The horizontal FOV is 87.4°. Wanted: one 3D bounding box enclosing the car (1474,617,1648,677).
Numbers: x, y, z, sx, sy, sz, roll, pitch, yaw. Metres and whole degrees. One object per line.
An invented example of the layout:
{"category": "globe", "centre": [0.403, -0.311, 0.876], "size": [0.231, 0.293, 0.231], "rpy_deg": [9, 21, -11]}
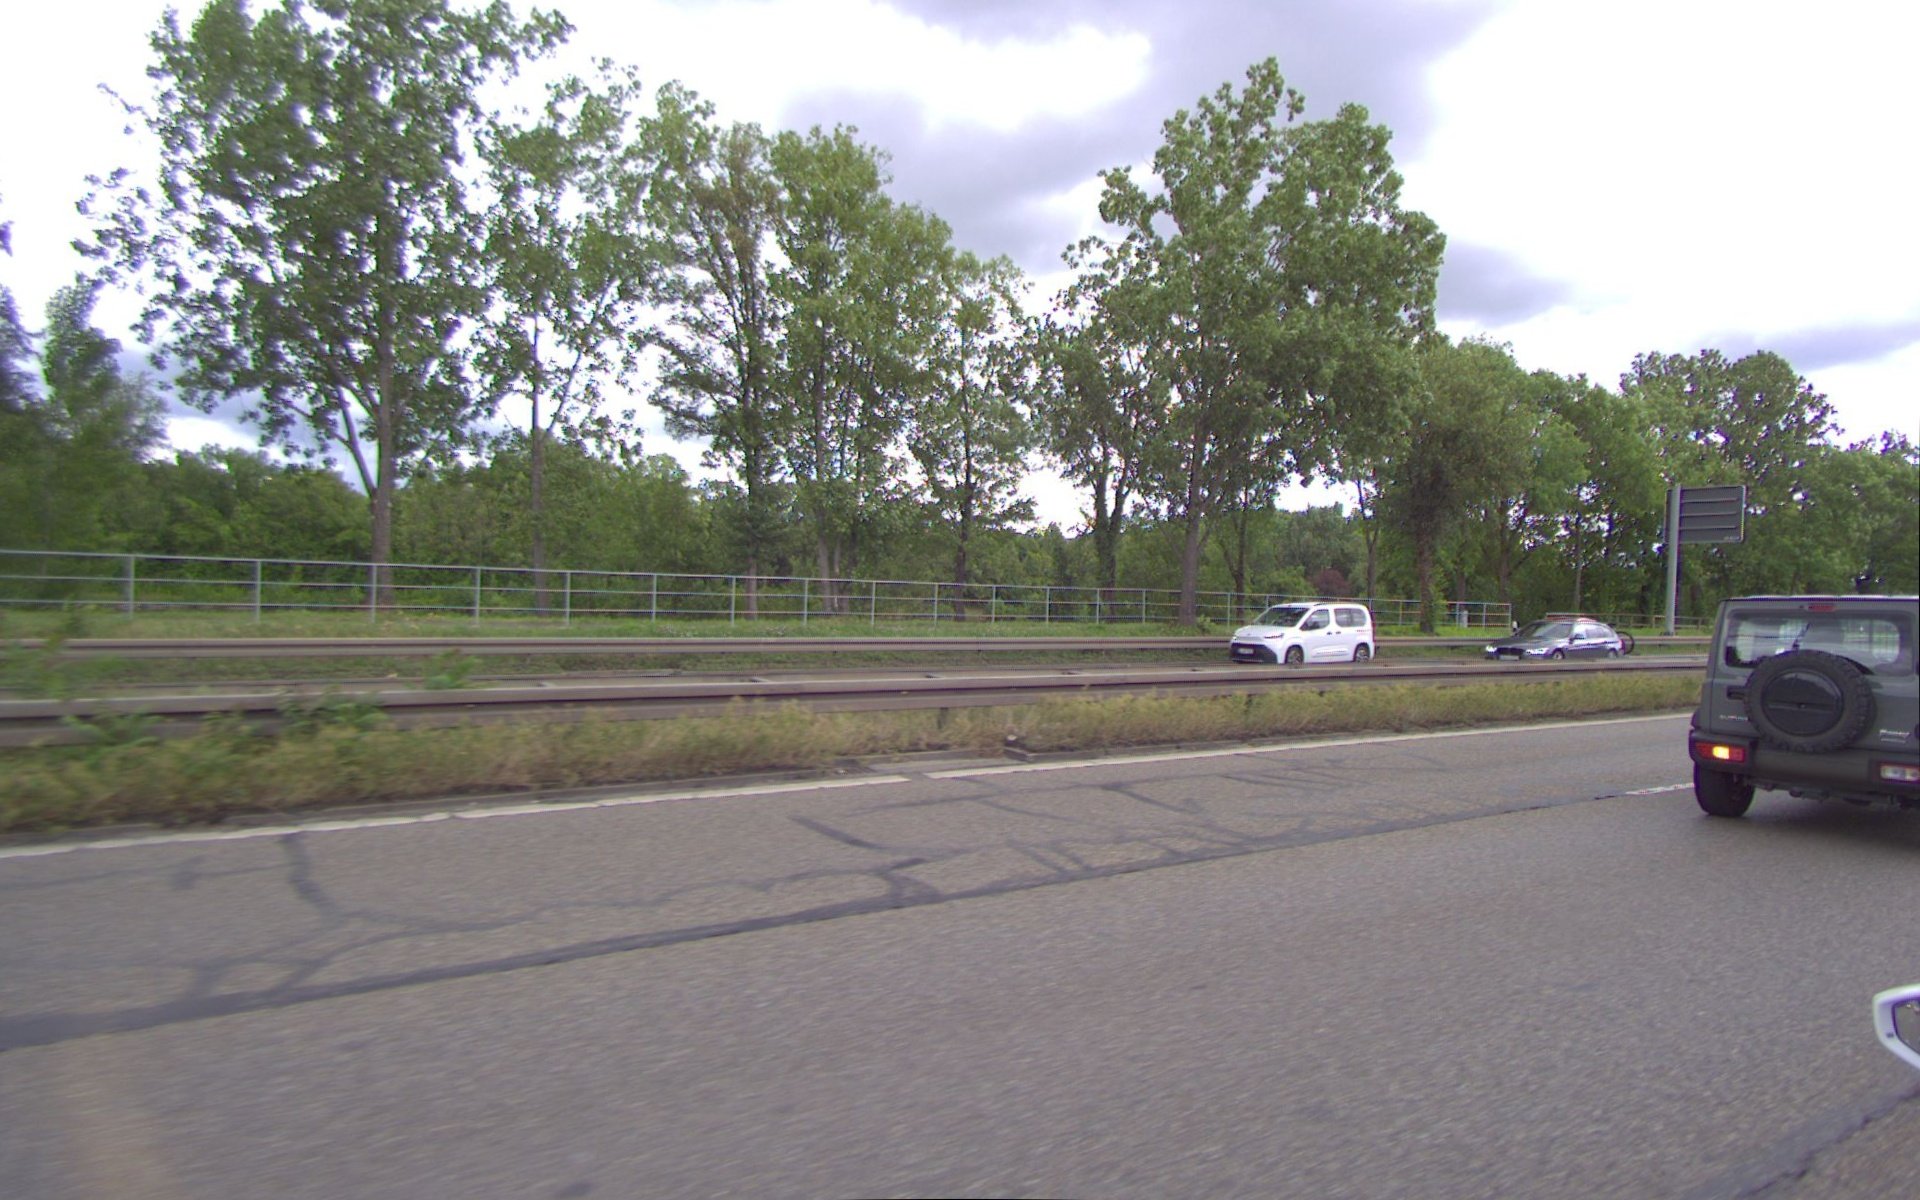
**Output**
{"category": "car", "centre": [16.779, 1.283, 27.954], "size": [5.488, 1.484, 1.851], "rpy_deg": [1, 0, -32]}

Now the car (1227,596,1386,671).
{"category": "car", "centre": [9.467, 0.895, 27.341], "size": [4.510, 1.909, 1.602], "rpy_deg": [1, 0, -32]}

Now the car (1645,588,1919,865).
{"category": "car", "centre": [7.251, 0.813, 7.848], "size": [3.955, 1.708, 1.688], "rpy_deg": [1, 0, -32]}

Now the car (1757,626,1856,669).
{"category": "car", "centre": [31.178, 1.731, 36.990], "size": [3.867, 1.443, 1.652], "rpy_deg": [1, 0, -32]}
